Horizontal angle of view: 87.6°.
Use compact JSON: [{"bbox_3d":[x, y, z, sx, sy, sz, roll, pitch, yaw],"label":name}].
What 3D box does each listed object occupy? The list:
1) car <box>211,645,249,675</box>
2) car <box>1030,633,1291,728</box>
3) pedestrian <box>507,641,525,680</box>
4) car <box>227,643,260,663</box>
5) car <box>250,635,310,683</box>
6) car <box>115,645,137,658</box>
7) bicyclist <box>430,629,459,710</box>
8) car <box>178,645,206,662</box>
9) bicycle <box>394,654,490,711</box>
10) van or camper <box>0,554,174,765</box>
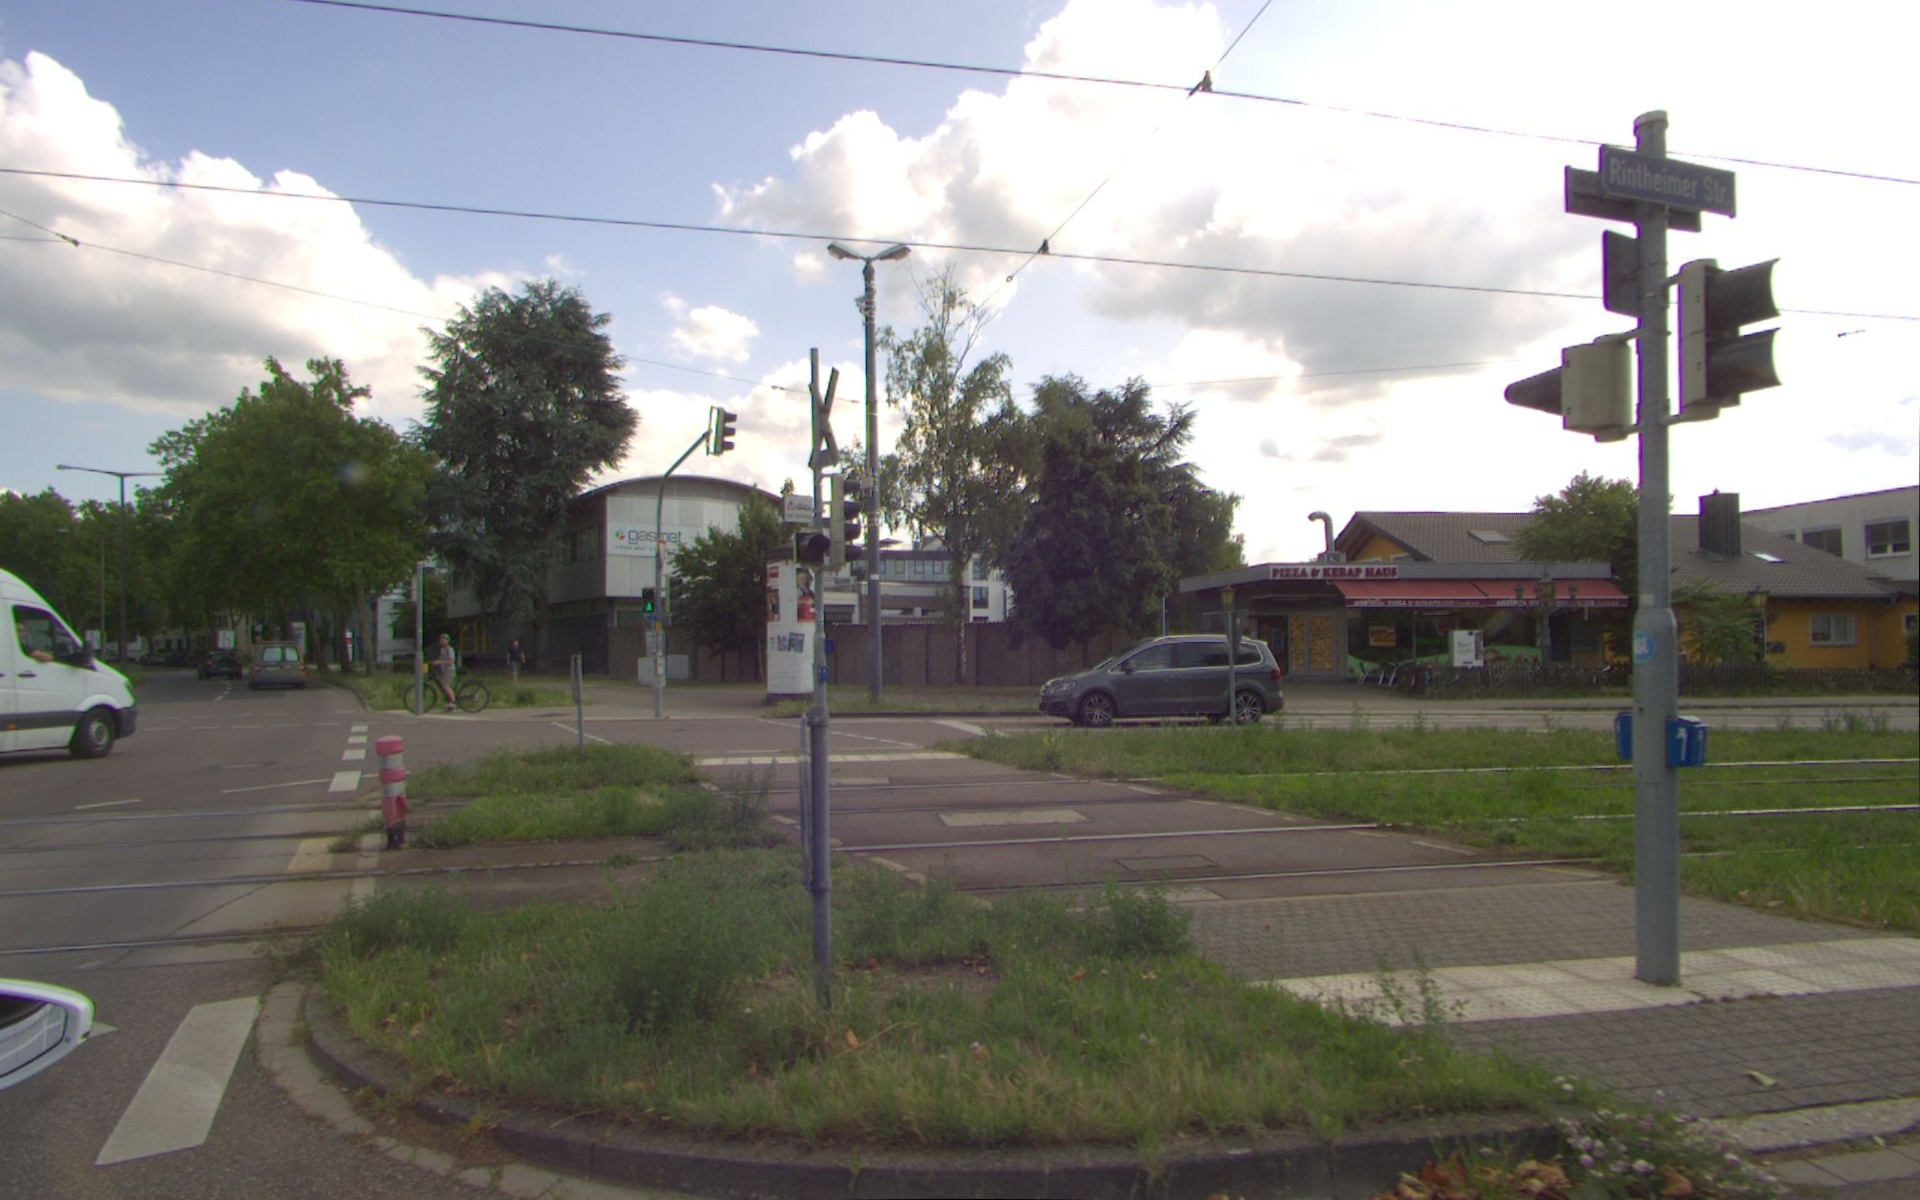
[{"bbox_3d":[-43.095,3.536,59.088,1.715,1.651,4.024,0,-3,-37],"label":"car"},{"bbox_3d":[3.835,1.535,19.700,4.649,1.743,2.001,0,-2,-5],"label":"car"},{"bbox_3d":[-18.696,2.538,42.189,0.614,1.590,0.556,1,0,-33],"label":"pedestrian"},{"bbox_3d":[-66.908,4.934,93.496,1.981,1.594,3.960,1,-1,-44],"label":"car"},{"bbox_3d":[-27.306,2.332,40.168,1.861,1.822,4.341,1,-3,-36],"label":"car"},{"bbox_3d":[-111.460,6.895,133.746,1.981,1.594,3.960,1,-1,-44],"label":"car"},{"bbox_3d":[-11.933,1.600,23.189,0.536,1.833,0.539,1,0,-24],"label":"bicyclist"},{"bbox_3d":[-82.078,5.696,107.018,1.981,1.594,3.960,1,-1,-44],"label":"car"},{"bbox_3d":[-11.962,1.884,23.181,1.921,1.252,0.539,1,0,-24],"label":"bicycle"},{"bbox_3d":[-12.589,0.706,11.773,1.944,2.556,6.041,0,-2,-1],"label":"van or camper"}]
